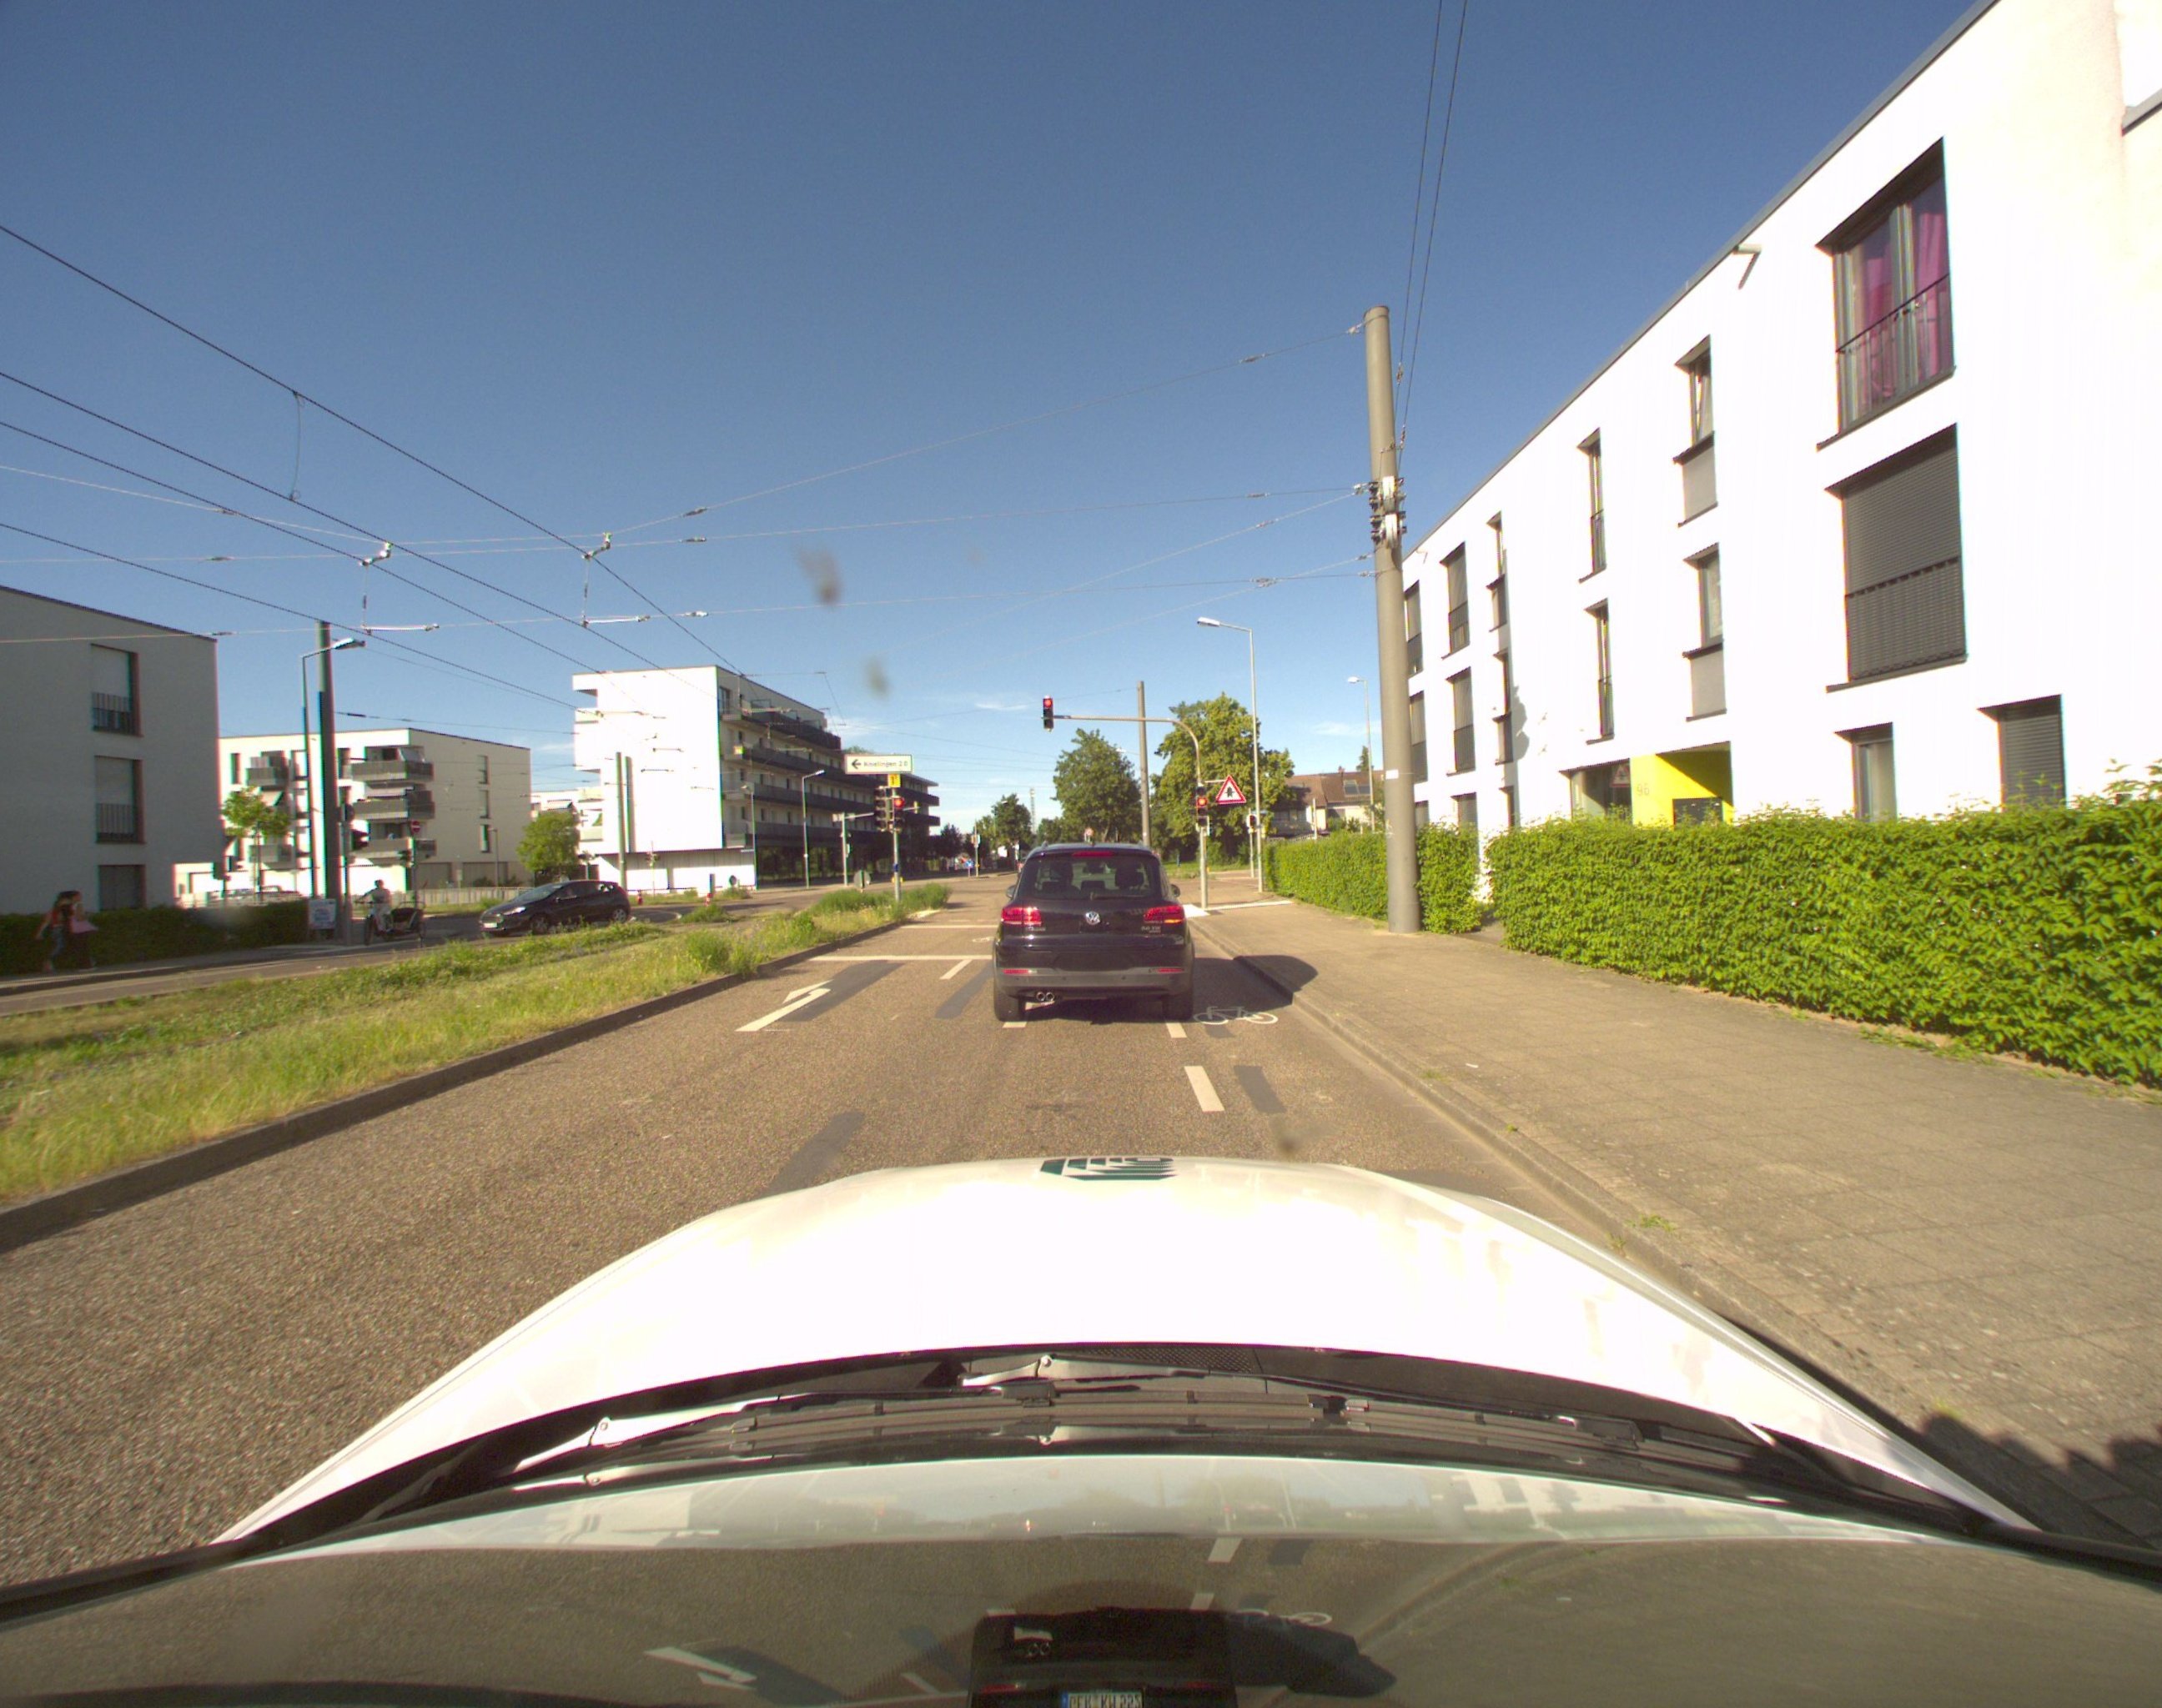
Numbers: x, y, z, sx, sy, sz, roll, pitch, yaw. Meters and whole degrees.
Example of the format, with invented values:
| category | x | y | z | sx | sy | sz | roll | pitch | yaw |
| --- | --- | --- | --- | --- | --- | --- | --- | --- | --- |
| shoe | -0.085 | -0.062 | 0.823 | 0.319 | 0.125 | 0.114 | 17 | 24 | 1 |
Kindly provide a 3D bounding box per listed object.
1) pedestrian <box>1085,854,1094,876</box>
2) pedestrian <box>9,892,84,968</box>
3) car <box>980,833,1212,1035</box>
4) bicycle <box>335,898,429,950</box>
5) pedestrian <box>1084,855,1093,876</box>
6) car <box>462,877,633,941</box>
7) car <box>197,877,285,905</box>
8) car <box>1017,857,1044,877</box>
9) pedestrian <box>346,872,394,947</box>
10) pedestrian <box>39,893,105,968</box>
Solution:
| category | x | y | z | sx | sy | sz | roll | pitch | yaw |
| --- | --- | --- | --- | --- | --- | --- | --- | --- | --- |
| pedestrian | 0.621 | 0.829 | 62.018 | 0.600 | 1.640 | 0.530 | -1 | 0 | 6 |
| pedestrian | -21.139 | 1.542 | 16.656 | 0.555 | 1.464 | 0.743 | -1 | 0 | 3 |
| car | 0.141 | 0.661 | 8.769 | 1.899 | 1.643 | 4.000 | -1 | 0 | 0 |
| bicycle | -19.862 | 1.958 | 23.247 | 0.794 | 1.221 | 2.692 | -1 | 0 | -11 |
| pedestrian | 0.570 | 0.863 | 61.513 | 0.600 | 1.565 | 0.530 | -1 | 0 | 6 |
| car | -15.321 | 1.543 | 23.607 | 1.688 | 1.430 | 3.760 | -4 | 0 | 21 |
| car | -58.749 | 2.565 | 57.014 | 3.974 | 1.838 | 2.000 | -1 | 0 | 0 |
| car | -3.716 | 0.948 | 60.370 | 1.745 | 1.387 | 4.000 | -1 | 0 | 0 |
| pedestrian | -19.717 | 1.515 | 22.597 | 0.761 | 2.013 | 0.667 | -1 | 0 | -12 |
| pedestrian | -20.563 | 1.545 | 16.611 | 0.555 | 1.464 | 0.612 | -1 | 0 | 1 |
